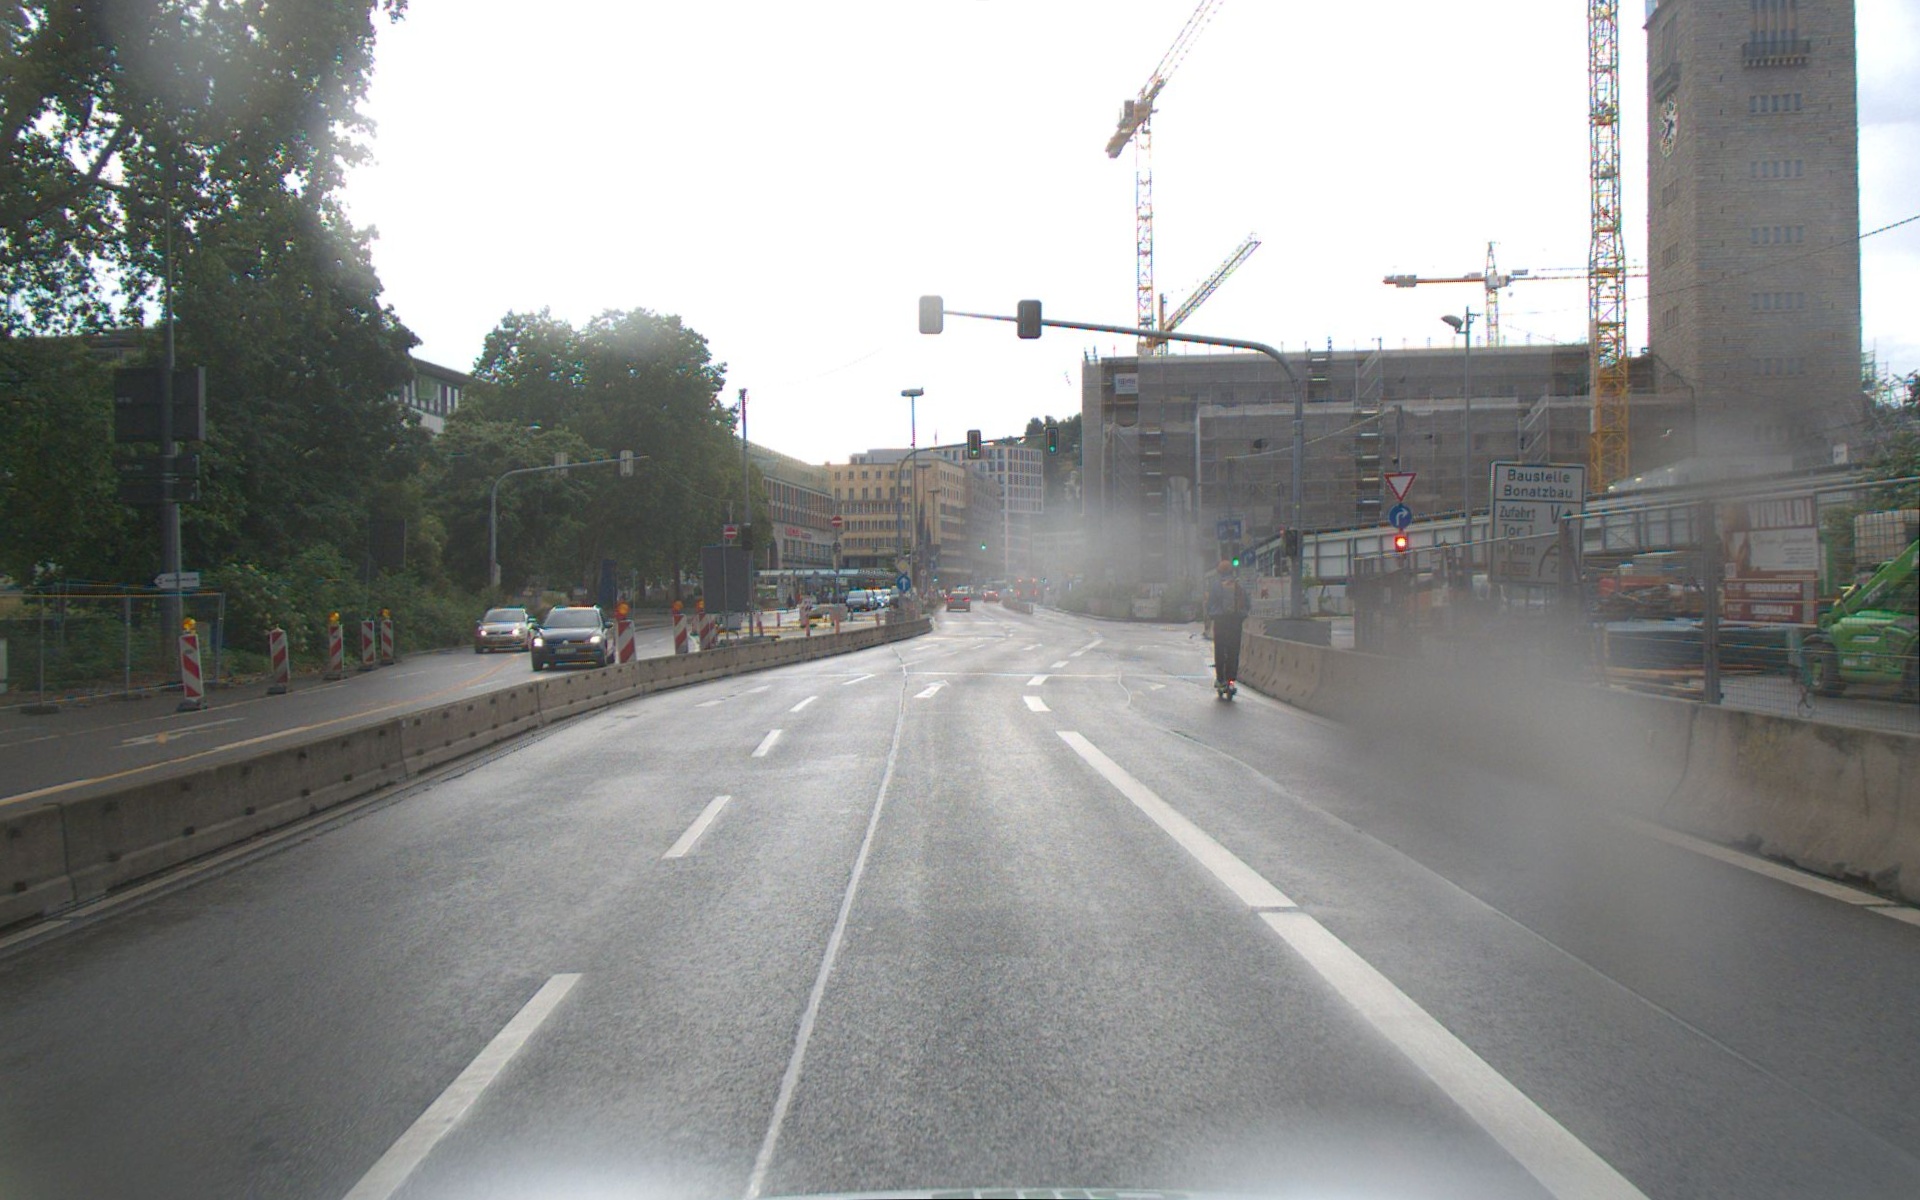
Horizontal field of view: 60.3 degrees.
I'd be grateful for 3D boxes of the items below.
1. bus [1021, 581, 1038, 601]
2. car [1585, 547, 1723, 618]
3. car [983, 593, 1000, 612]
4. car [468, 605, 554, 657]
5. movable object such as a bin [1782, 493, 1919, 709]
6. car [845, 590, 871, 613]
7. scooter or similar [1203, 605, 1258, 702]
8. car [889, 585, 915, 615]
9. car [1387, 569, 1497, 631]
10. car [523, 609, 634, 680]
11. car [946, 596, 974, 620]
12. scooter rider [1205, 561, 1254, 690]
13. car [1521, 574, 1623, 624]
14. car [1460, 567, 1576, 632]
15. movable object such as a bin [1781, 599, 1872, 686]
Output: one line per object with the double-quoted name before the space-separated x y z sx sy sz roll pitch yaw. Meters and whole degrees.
"bus" 9.344 -1.243 223.081 1.951 2.474 4.002 -3 -2 5
"car" 24.840 -0.600 59.456 2.006 2.354 5.597 -2 0 -7
"car" 3.919 0.323 202.345 1.952 2.049 4.000 -3 -2 1
"car" -15.173 1.080 56.089 1.954 1.568 4.440 -2 -2 -4
"movable object such as a bin" 13.484 -0.017 23.189 1.771 2.858 3.862 0 1 -5
"car" -8.008 0.120 129.734 1.864 1.555 4.175 -3 -2 -2
"scooter or similar" 3.896 0.748 23.891 0.585 1.342 1.668 0 0 3
"car" -4.578 -0.018 130.293 1.864 2.119 4.175 -2 -2 -2
"car" 16.447 -0.011 56.684 1.874 2.010 5.157 0 0 -5
"car" -9.366 1.128 40.978 1.954 1.568 4.575 -2 -2 -4
"car" -0.027 0.601 123.165 1.864 1.555 4.175 -3 -2 -2
"scooter rider" 3.884 0.360 23.882 0.585 1.817 0.997 0 0 3
"car" 22.161 -0.035 60.064 1.902 1.648 3.929 -2 0 -6
"car" 17.034 -0.064 50.731 1.808 1.838 5.086 0 1 0
"movable object such as a bin" 14.276 0.677 27.301 1.151 1.368 1.265 0 1 19
